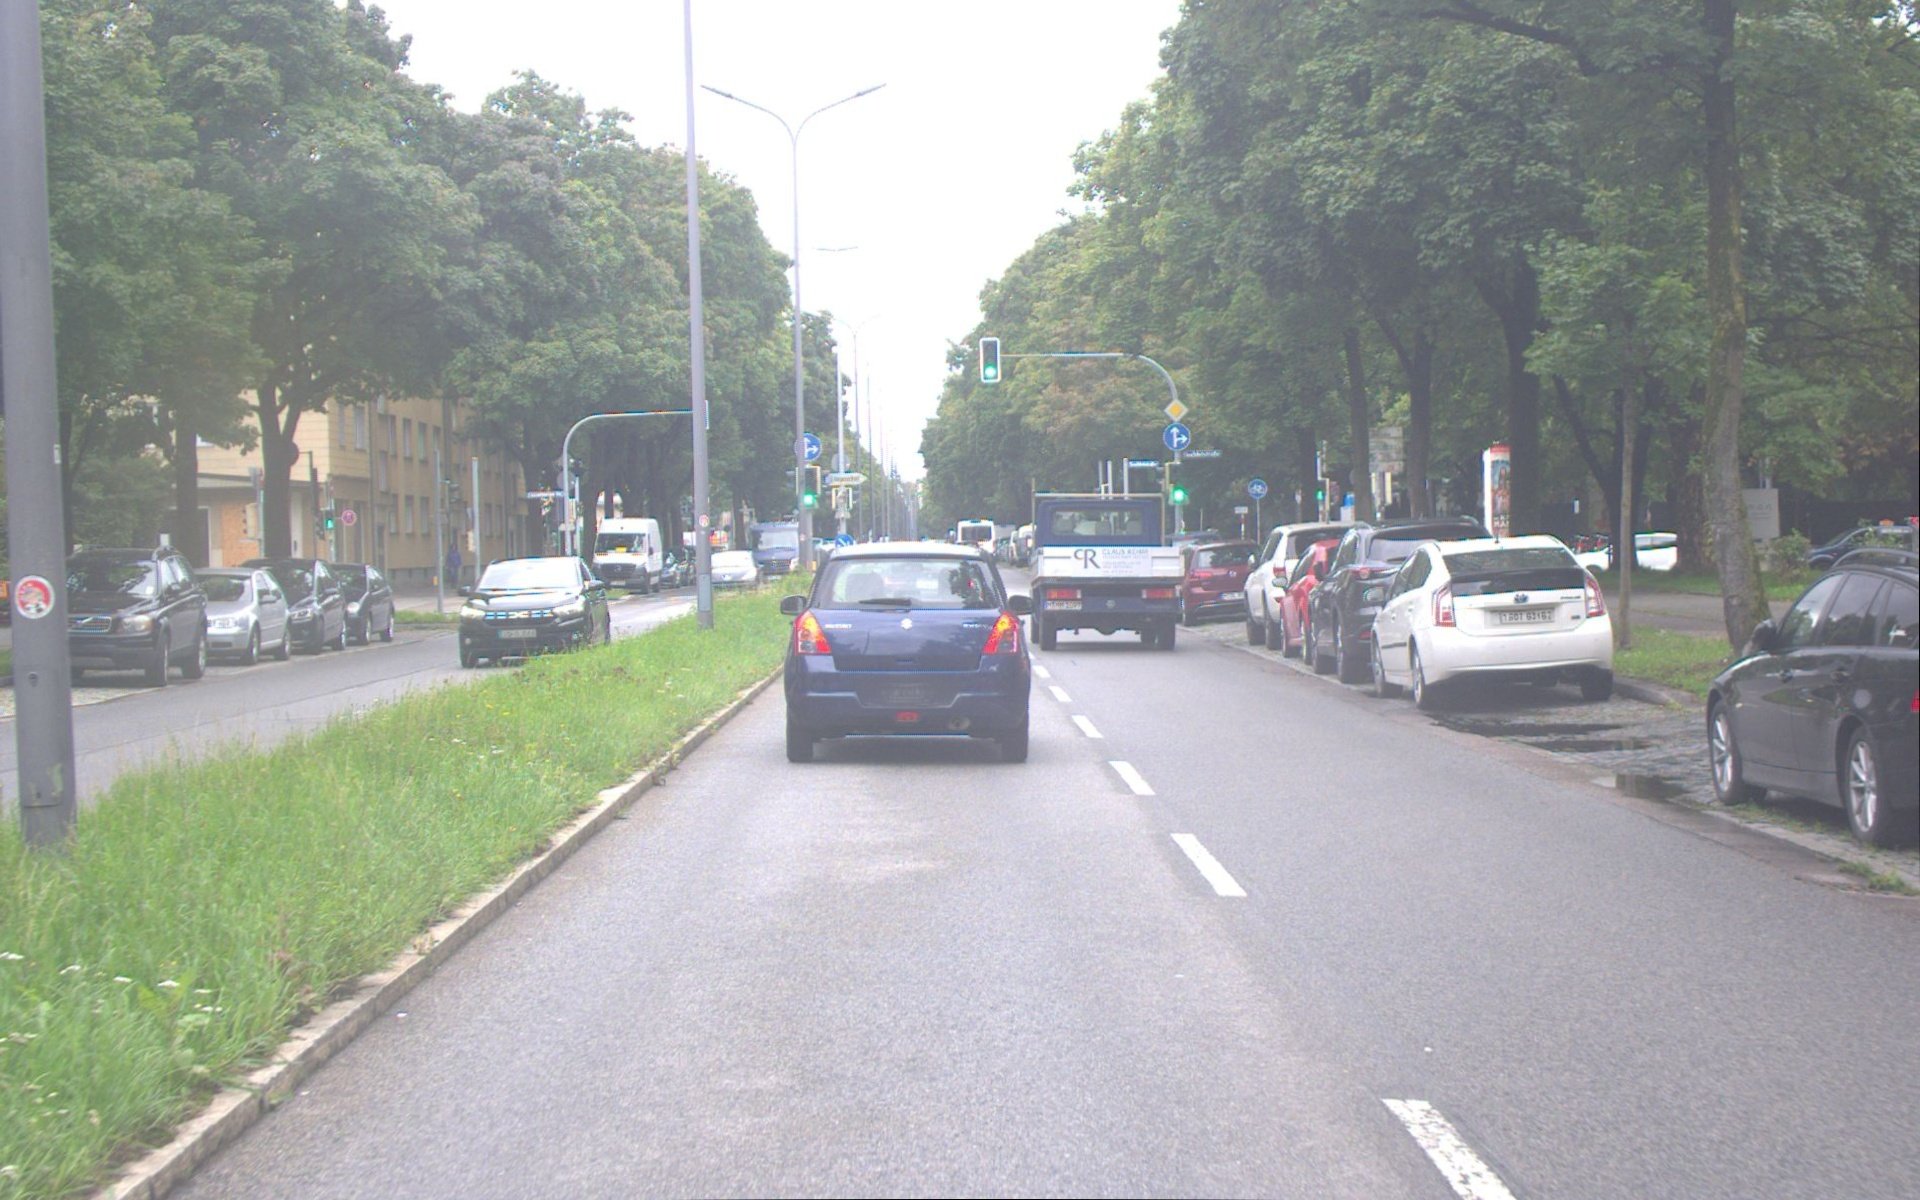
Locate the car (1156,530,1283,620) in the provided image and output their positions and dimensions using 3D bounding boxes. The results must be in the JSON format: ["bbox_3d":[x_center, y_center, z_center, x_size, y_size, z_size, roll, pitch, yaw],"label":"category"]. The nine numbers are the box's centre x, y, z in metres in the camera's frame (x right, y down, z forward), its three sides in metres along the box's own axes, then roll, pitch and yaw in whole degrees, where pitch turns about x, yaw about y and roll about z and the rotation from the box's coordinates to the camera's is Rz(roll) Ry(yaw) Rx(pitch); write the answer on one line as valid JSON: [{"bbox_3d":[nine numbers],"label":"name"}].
[{"bbox_3d":[4.625,-0.480,61.821,1.712,1.419,4.284,-5,1,-2],"label":"car"}]

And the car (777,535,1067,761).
[{"bbox_3d":[-0.346,0.286,24.655,1.896,1.494,3.661,0,1,-3],"label":"car"}]

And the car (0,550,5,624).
[{"bbox_3d":[-20.779,-0.208,67.417,3.632,1.457,1.672,-1,1,-2],"label":"car"}]

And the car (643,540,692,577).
[{"bbox_3d":[-11.902,-1.692,140.182,1.636,1.437,3.735,-2,1,0],"label":"car"}]

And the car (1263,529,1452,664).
[{"bbox_3d":[4.894,-0.087,42.828,1.760,1.501,4.144,-3,1,-1],"label":"car"}]

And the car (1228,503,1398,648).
[{"bbox_3d":[4.866,-0.373,47.875,1.760,1.824,4.529,-3,1,-1],"label":"car"}]

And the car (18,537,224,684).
[{"bbox_3d":[-10.943,0.085,45.140,1.796,1.757,5.059,1,1,-4],"label":"car"}]

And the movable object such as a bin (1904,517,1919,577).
[{"bbox_3d":[21.393,-1.158,73.354,2.059,1.258,1.531,-1,1,0],"label":"movable object such as a bin"}]

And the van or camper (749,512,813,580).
[{"bbox_3d":[-6.293,-1.927,121.406,2.023,2.253,6.022,-2,1,-1],"label":"van or camper"}]

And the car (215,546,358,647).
[{"bbox_3d":[-11.116,-0.092,56.955,1.666,1.557,4.300,-2,1,-3],"label":"car"}]

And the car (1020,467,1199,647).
[{"bbox_3d":[2.059,-0.633,48.896,2.419,2.435,5.086,0,1,1],"label":"car"}]

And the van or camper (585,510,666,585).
[{"bbox_3d":[-11.628,-1.854,119.838,2.140,2.467,6.259,-2,1,0],"label":"van or camper"}]

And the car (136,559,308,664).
[{"bbox_3d":[-11.093,0.139,51.930,1.666,1.440,4.375,2,1,-1],"label":"car"}]

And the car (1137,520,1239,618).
[{"bbox_3d":[4.404,-0.632,66.594,1.763,1.652,4.283,-5,1,4],"label":"car"}]

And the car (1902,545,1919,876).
[{"bbox_3d":[5.156,0.497,13.539,1.675,1.496,4.022,-3,1,-1],"label":"car"}]

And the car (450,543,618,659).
[{"bbox_3d":[-5.763,-0.019,46.941,1.739,1.435,4.215,-2,1,0],"label":"car"}]

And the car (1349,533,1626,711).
[{"bbox_3d":[4.847,0.145,32.209,1.760,1.448,4.633,-3,1,-1],"label":"car"}]

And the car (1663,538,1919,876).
[{"bbox_3d":[5.041,0.443,17.963,1.675,1.448,4.583,-3,1,-1],"label":"car"}]

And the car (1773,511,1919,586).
[{"bbox_3d":[23.706,-1.372,91.069,3.881,1.605,1.932,-5,1,7],"label":"car"}]

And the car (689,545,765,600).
[{"bbox_3d":[-6.492,-0.784,96.107,1.737,1.437,4.103,-2,1,1],"label":"car"}]

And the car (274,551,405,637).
[{"bbox_3d":[-11.250,-0.126,62.511,1.564,1.445,3.838,2,1,1],"label":"car"}]

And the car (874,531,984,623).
[{"bbox_3d":[-0.515,-0.418,59.105,1.799,1.494,3.660,-2,1,0],"label":"car"}]

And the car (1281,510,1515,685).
[{"bbox_3d":[4.724,-0.079,37.769,1.760,1.692,5.230,-3,1,-1],"label":"car"}]
